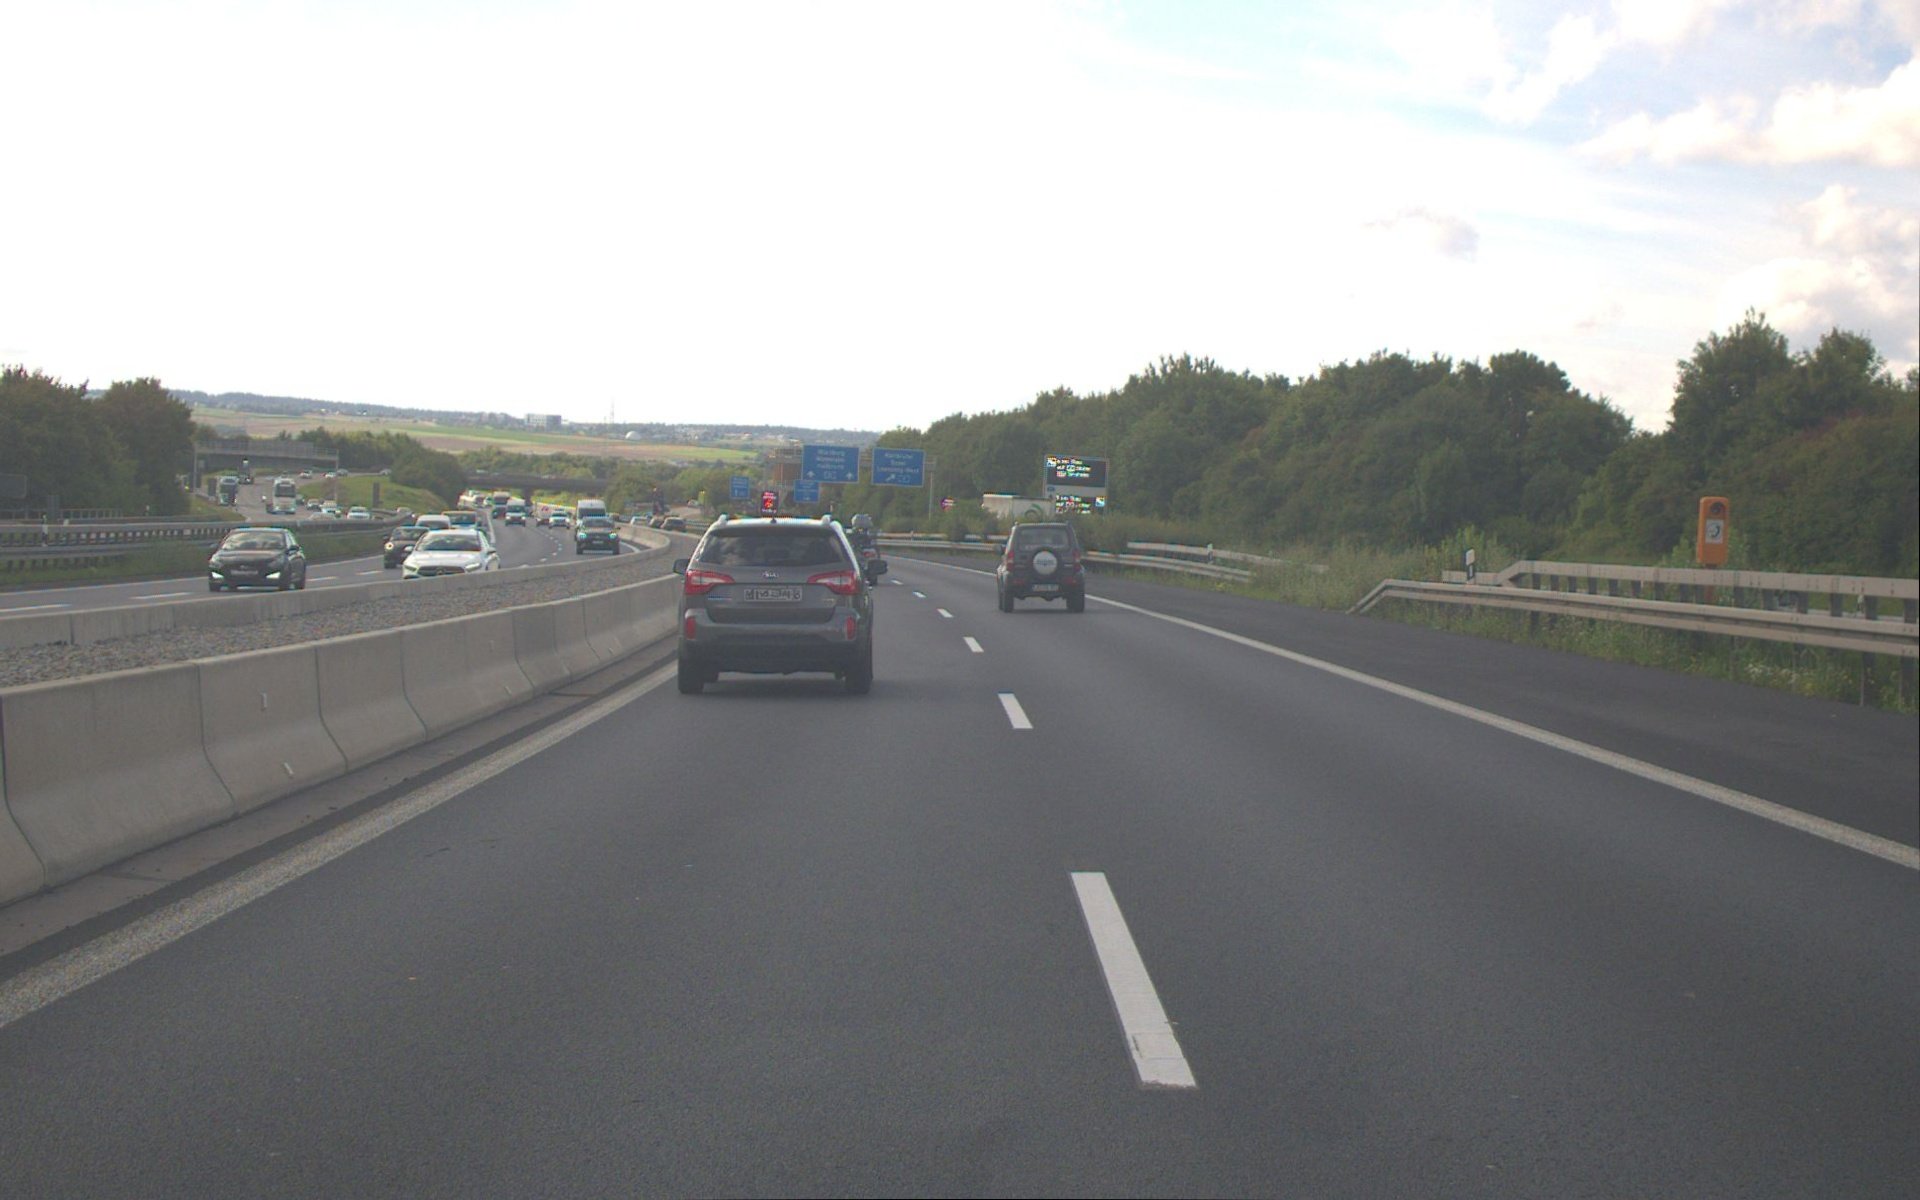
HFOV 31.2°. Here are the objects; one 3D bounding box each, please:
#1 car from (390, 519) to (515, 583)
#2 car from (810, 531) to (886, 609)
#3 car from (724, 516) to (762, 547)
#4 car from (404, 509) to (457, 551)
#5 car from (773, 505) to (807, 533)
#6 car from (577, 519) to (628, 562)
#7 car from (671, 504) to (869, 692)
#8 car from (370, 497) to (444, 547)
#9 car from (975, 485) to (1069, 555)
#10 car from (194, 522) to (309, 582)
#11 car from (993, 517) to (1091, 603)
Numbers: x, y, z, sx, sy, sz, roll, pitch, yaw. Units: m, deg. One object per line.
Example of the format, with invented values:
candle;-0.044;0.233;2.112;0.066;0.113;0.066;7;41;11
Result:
car;-11.175;-1.107;76.044;2.045;1.333;5.609;1;1;-1
car;-3.149;-0.873;97.280;2.030;2.144;4.000;1;1;0
car;-12.908;-4.076;204.482;1.993;1.678;4.001;1;0;-7
car;-23.842;-3.158;154.986;1.993;1.808;4.242;1;1;-4
car;-12.385;-5.870;250.219;1.993;1.922;4.001;1;0;-10
car;-16.775;-2.807;161.570;1.993;1.913;5.149;1;1;-2
car;-1.846;-0.037;34.737;1.817;1.730;5.187;1;0;-1
car;-19.214;-2.719;119.569;1.993;1.685;4.373;1;1;-2
car;3.999;-5.193;226.320;4.727;4.251;11.406;1;0;-6
car;-16.279;-1.120;79.167;1.868;1.333;4.230;1;1;-1
car;1.574;-0.811;67.279;1.587;1.591;4.096;1;1;-3
